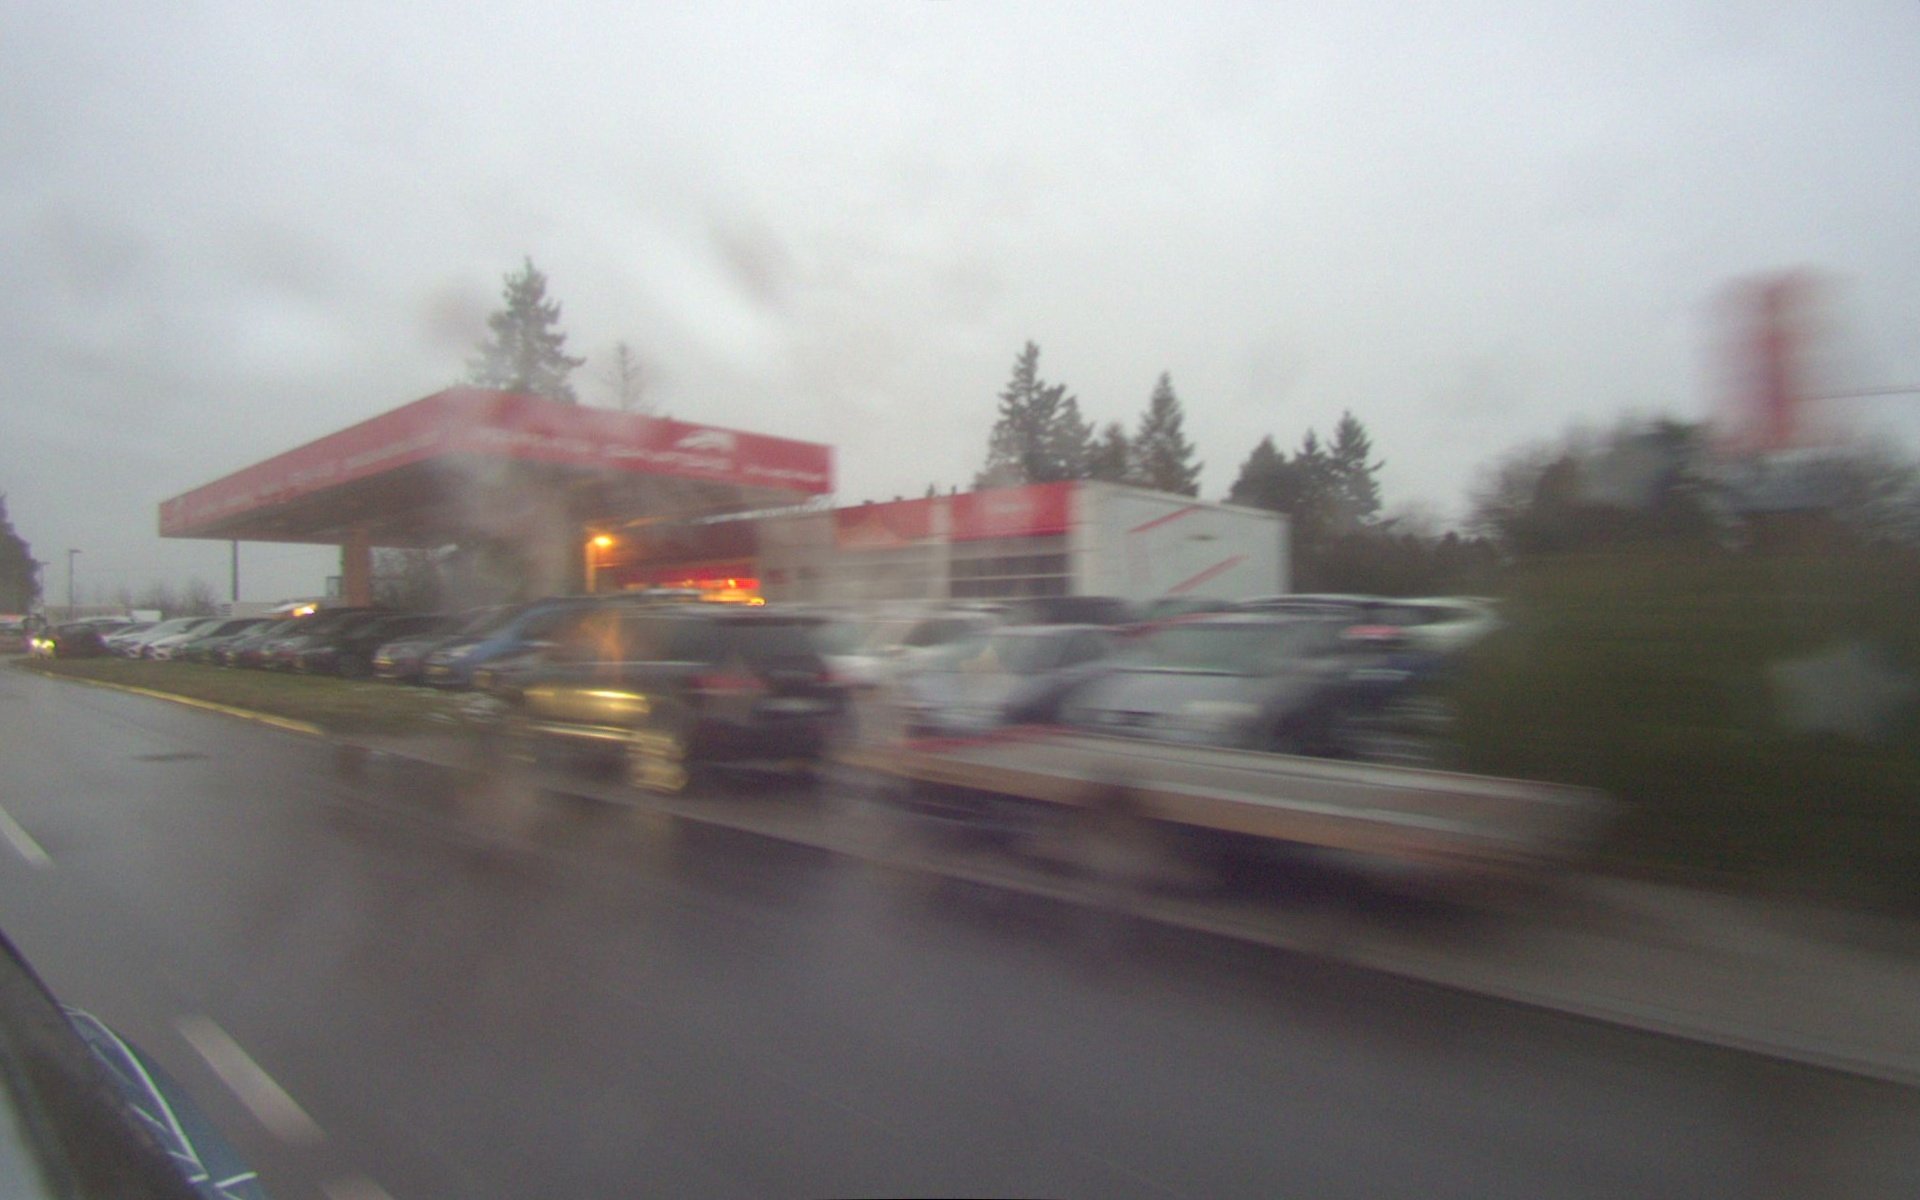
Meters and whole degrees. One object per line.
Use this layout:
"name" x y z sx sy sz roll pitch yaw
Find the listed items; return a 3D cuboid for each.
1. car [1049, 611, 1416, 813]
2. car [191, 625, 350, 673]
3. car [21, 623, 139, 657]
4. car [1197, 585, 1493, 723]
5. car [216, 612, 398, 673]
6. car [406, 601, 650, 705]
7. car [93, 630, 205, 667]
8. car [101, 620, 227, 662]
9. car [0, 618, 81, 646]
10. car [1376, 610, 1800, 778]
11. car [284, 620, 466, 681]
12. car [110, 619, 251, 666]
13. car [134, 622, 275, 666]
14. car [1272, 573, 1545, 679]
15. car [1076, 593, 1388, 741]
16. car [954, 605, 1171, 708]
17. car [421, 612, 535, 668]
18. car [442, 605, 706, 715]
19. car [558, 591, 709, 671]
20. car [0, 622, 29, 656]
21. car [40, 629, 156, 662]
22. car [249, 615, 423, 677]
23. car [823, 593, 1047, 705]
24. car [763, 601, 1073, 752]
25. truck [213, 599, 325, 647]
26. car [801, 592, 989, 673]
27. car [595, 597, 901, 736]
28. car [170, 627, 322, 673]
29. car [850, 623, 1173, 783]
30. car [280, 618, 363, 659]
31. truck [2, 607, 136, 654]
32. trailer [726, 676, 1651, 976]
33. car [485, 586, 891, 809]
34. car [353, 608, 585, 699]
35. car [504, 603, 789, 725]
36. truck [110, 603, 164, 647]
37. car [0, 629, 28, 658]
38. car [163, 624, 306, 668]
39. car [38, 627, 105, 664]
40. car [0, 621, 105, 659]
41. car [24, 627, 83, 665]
"car" 2.986 0.964 10.351 1.918 1.595 4.511 -2 -3 40
"car" -21.683 1.514 31.943 1.838 1.356 3.819 -2 -1 40
"car" -47.193 2.117 54.346 2.007 1.689 4.492 -2 -1 37
"car" 6.068 0.791 16.170 3.997 1.918 1.973 -1 -2 41
"car" -19.493 1.210 30.342 1.979 1.669 4.237 -2 -1 40
"car" -8.964 1.015 21.270 1.999 1.777 4.232 -2 1 41
"car" -37.376 2.207 46.699 1.774 1.470 3.735 -2 0 38
"car" -34.031 1.714 43.334 1.941 1.662 4.003 -2 -2 43
"car" -72.516 2.530 79.412 2.057 2.167 5.092 -3 -4 41
"car" 7.300 0.960 11.952 3.997 1.637 1.973 -1 -2 41
"car" -15.462 1.290 26.866 1.838 1.452 3.819 -2 -1 40
"car" -29.807 1.591 38.762 1.822 1.566 3.989 -3 -1 40
"car" -27.778 1.590 37.281 1.942 1.420 3.819 -2 0 40
"car" 7.737 0.427 17.659 3.999 1.636 1.778 -1 0 42
"car" 3.920 0.897 14.916 3.997 1.883 1.973 -1 -2 41
"car" 2.026 1.087 20.614 3.997 1.883 1.973 -1 -2 41
"car" -15.607 1.274 32.689 4.146 1.669 1.868 -2 -1 41
"car" -7.267 1.052 19.366 1.999 1.675 4.232 -2 1 41
"car" -8.386 0.763 25.855 3.998 1.883 1.866 -1 -2 41
"car" -78.088 3.100 80.194 2.175 2.652 6.092 -3 -3 41
"car" -43.392 2.262 51.011 1.825 1.509 4.290 -2 -1 41
"car" -17.483 1.246 28.481 1.838 1.571 3.819 -2 -1 40
"car" -0.539 0.877 19.340 3.997 1.918 1.973 -1 -2 41
"car" -0.452 0.940 14.400 1.999 1.639 4.232 -2 1 41
"truck" -67.707 2.175 99.379 2.995 4.293 8.626 -2 0 30
"car" -1.595 0.737 23.812 4.289 1.675 1.918 -2 1 41
"car" -3.127 0.898 15.621 1.999 1.675 4.232 -2 1 41
"car" -23.668 1.622 33.642 1.838 1.356 3.819 -2 -1 40
"car" 0.735 1.042 11.783 1.719 1.439 3.852 -1 0 42
"car" -26.189 1.584 41.466 4.043 1.566 1.848 -3 -1 42
"truck" -62.048 2.085 70.625 2.332 3.166 6.790 -2 -2 39
"trailer" 1.004 1.161 7.052 6.101 1.047 1.972 -2 -3 42
"car" -2.997 0.882 10.604 4.510 1.844 1.950 -2 -3 41
"car" -11.001 1.126 22.889 1.999 1.675 4.232 -2 1 41
"car" -5.345 1.003 17.662 2.136 1.675 4.232 -2 1 41
"truck" -67.727 2.147 83.236 5.842 3.481 2.012 -2 -4 37
"car" -55.104 2.527 58.873 1.157 1.657 2.874 1 -3 -40
"car" -25.648 1.583 35.853 1.838 1.416 3.819 -2 -1 40
"car" -35.833 1.812 40.796 3.740 1.431 1.664 -2 -2 43
"car" -65.431 2.844 72.581 2.193 2.659 5.972 -2 -2 39
"car" -38.807 1.951 43.309 3.013 1.555 1.502 -2 -3 41
